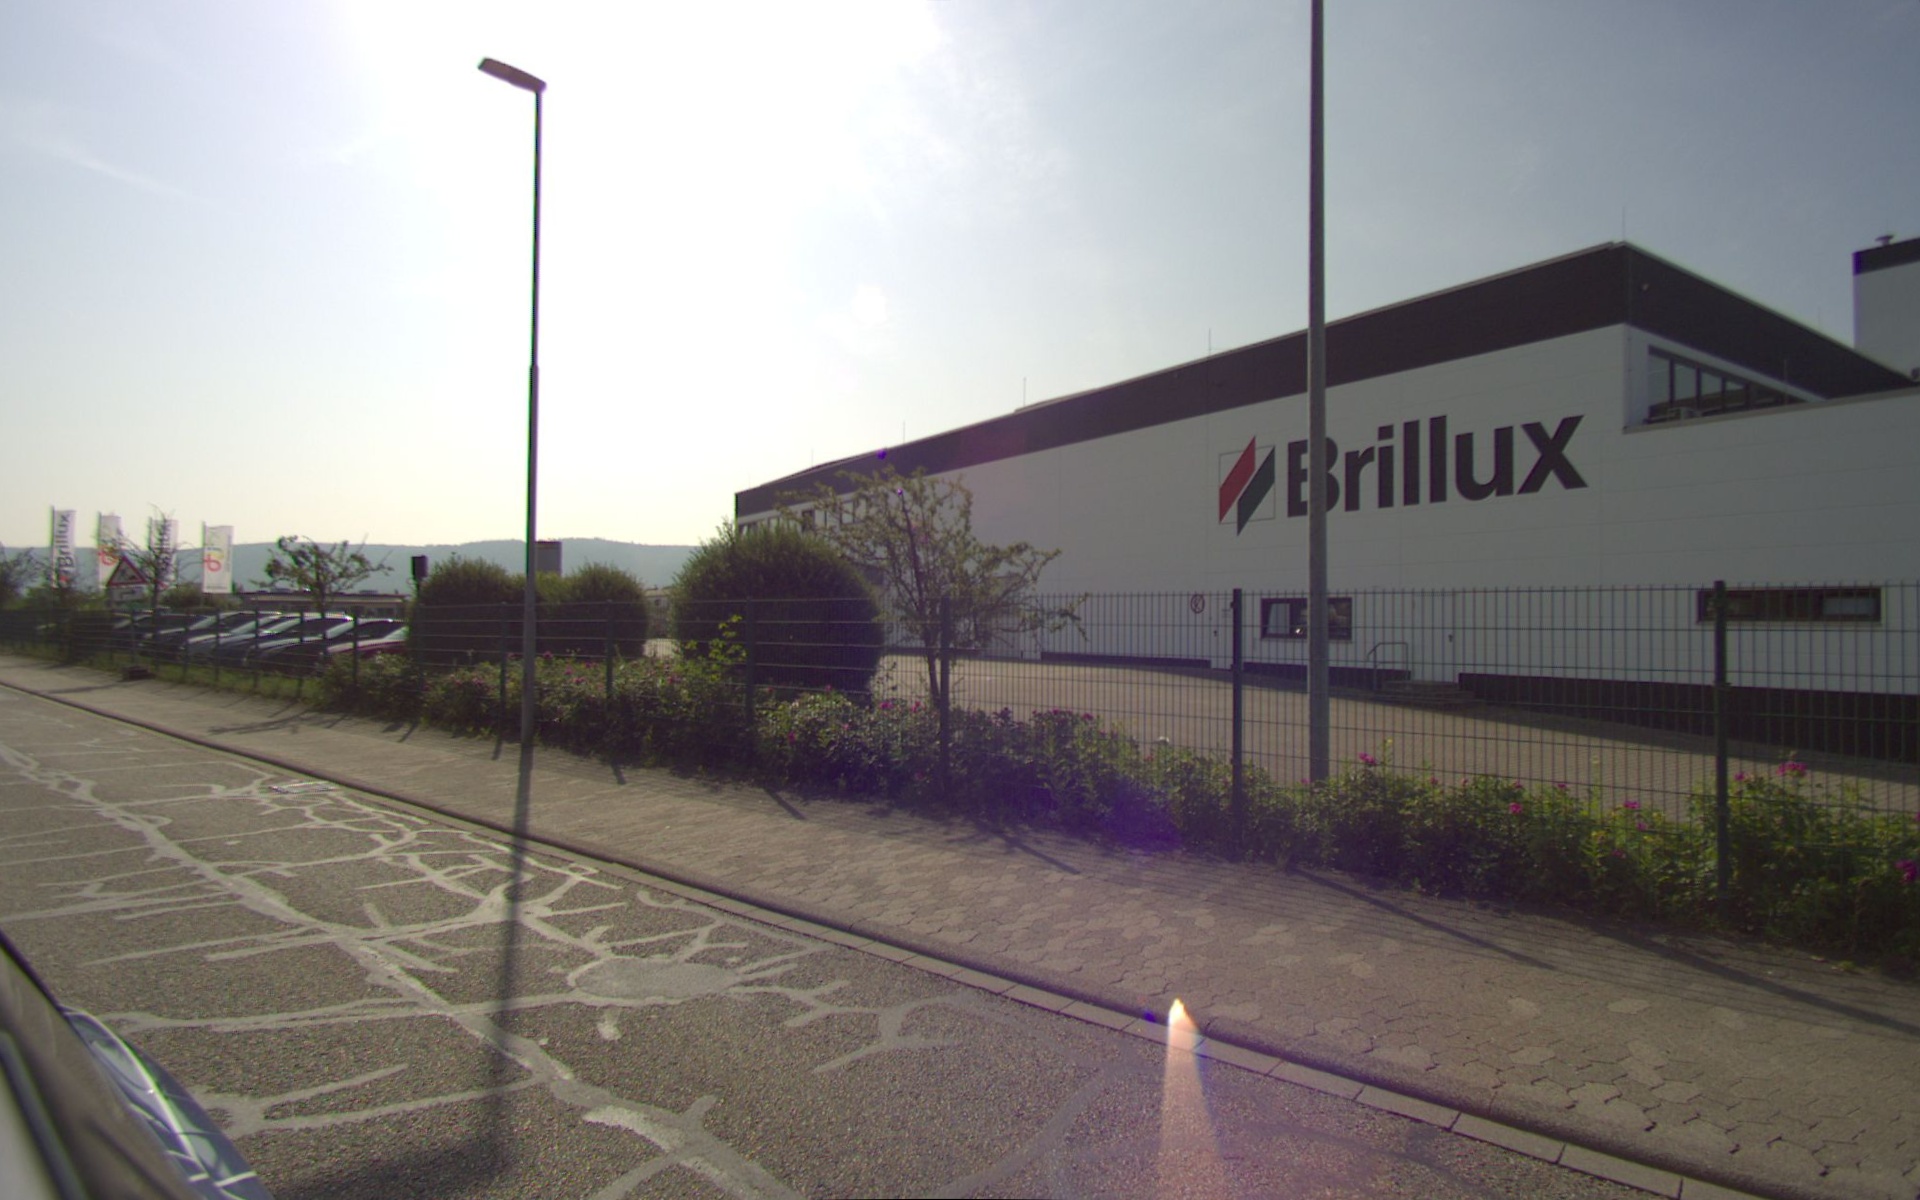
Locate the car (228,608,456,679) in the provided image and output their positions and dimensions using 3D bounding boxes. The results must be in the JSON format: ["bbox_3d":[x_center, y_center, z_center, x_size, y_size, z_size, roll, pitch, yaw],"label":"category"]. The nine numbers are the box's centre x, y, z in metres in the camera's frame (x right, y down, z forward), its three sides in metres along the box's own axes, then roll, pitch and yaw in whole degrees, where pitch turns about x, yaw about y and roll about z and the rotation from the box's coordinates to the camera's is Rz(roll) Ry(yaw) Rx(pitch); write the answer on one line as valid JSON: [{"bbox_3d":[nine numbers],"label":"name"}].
[{"bbox_3d":[-13.993,1.013,23.100,1.872,1.455,4.000,-1,-3,39],"label":"car"}]

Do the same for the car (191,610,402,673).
[{"bbox_3d":[-16.536,1.062,25.384,1.872,1.455,4.000,-1,-3,39],"label":"car"}]

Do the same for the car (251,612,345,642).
[{"bbox_3d":[-40.197,1.654,61.571,4.585,1.765,2.158,1,-2,-29],"label":"car"}]

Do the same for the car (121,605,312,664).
[{"bbox_3d":[-21.470,1.032,29.345,1.863,1.579,4.086,-1,-3,39],"label":"car"}]

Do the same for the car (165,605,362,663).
[{"bbox_3d":[-18.722,0.951,27.346,1.872,1.455,4.000,-1,-3,39],"label":"car"}]

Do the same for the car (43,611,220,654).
[{"bbox_3d":[-30.138,1.214,36.946,2.076,1.455,4.639,-1,-3,39],"label":"car"}]

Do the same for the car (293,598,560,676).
[{"bbox_3d":[-10.963,0.806,21.084,1.950,1.455,4.491,-1,-3,39],"label":"car"}]

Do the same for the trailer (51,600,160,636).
[{"bbox_3d":[-66.780,1.434,79.287,6.223,2.625,2.861,3,-3,-36],"label":"trailer"}]
